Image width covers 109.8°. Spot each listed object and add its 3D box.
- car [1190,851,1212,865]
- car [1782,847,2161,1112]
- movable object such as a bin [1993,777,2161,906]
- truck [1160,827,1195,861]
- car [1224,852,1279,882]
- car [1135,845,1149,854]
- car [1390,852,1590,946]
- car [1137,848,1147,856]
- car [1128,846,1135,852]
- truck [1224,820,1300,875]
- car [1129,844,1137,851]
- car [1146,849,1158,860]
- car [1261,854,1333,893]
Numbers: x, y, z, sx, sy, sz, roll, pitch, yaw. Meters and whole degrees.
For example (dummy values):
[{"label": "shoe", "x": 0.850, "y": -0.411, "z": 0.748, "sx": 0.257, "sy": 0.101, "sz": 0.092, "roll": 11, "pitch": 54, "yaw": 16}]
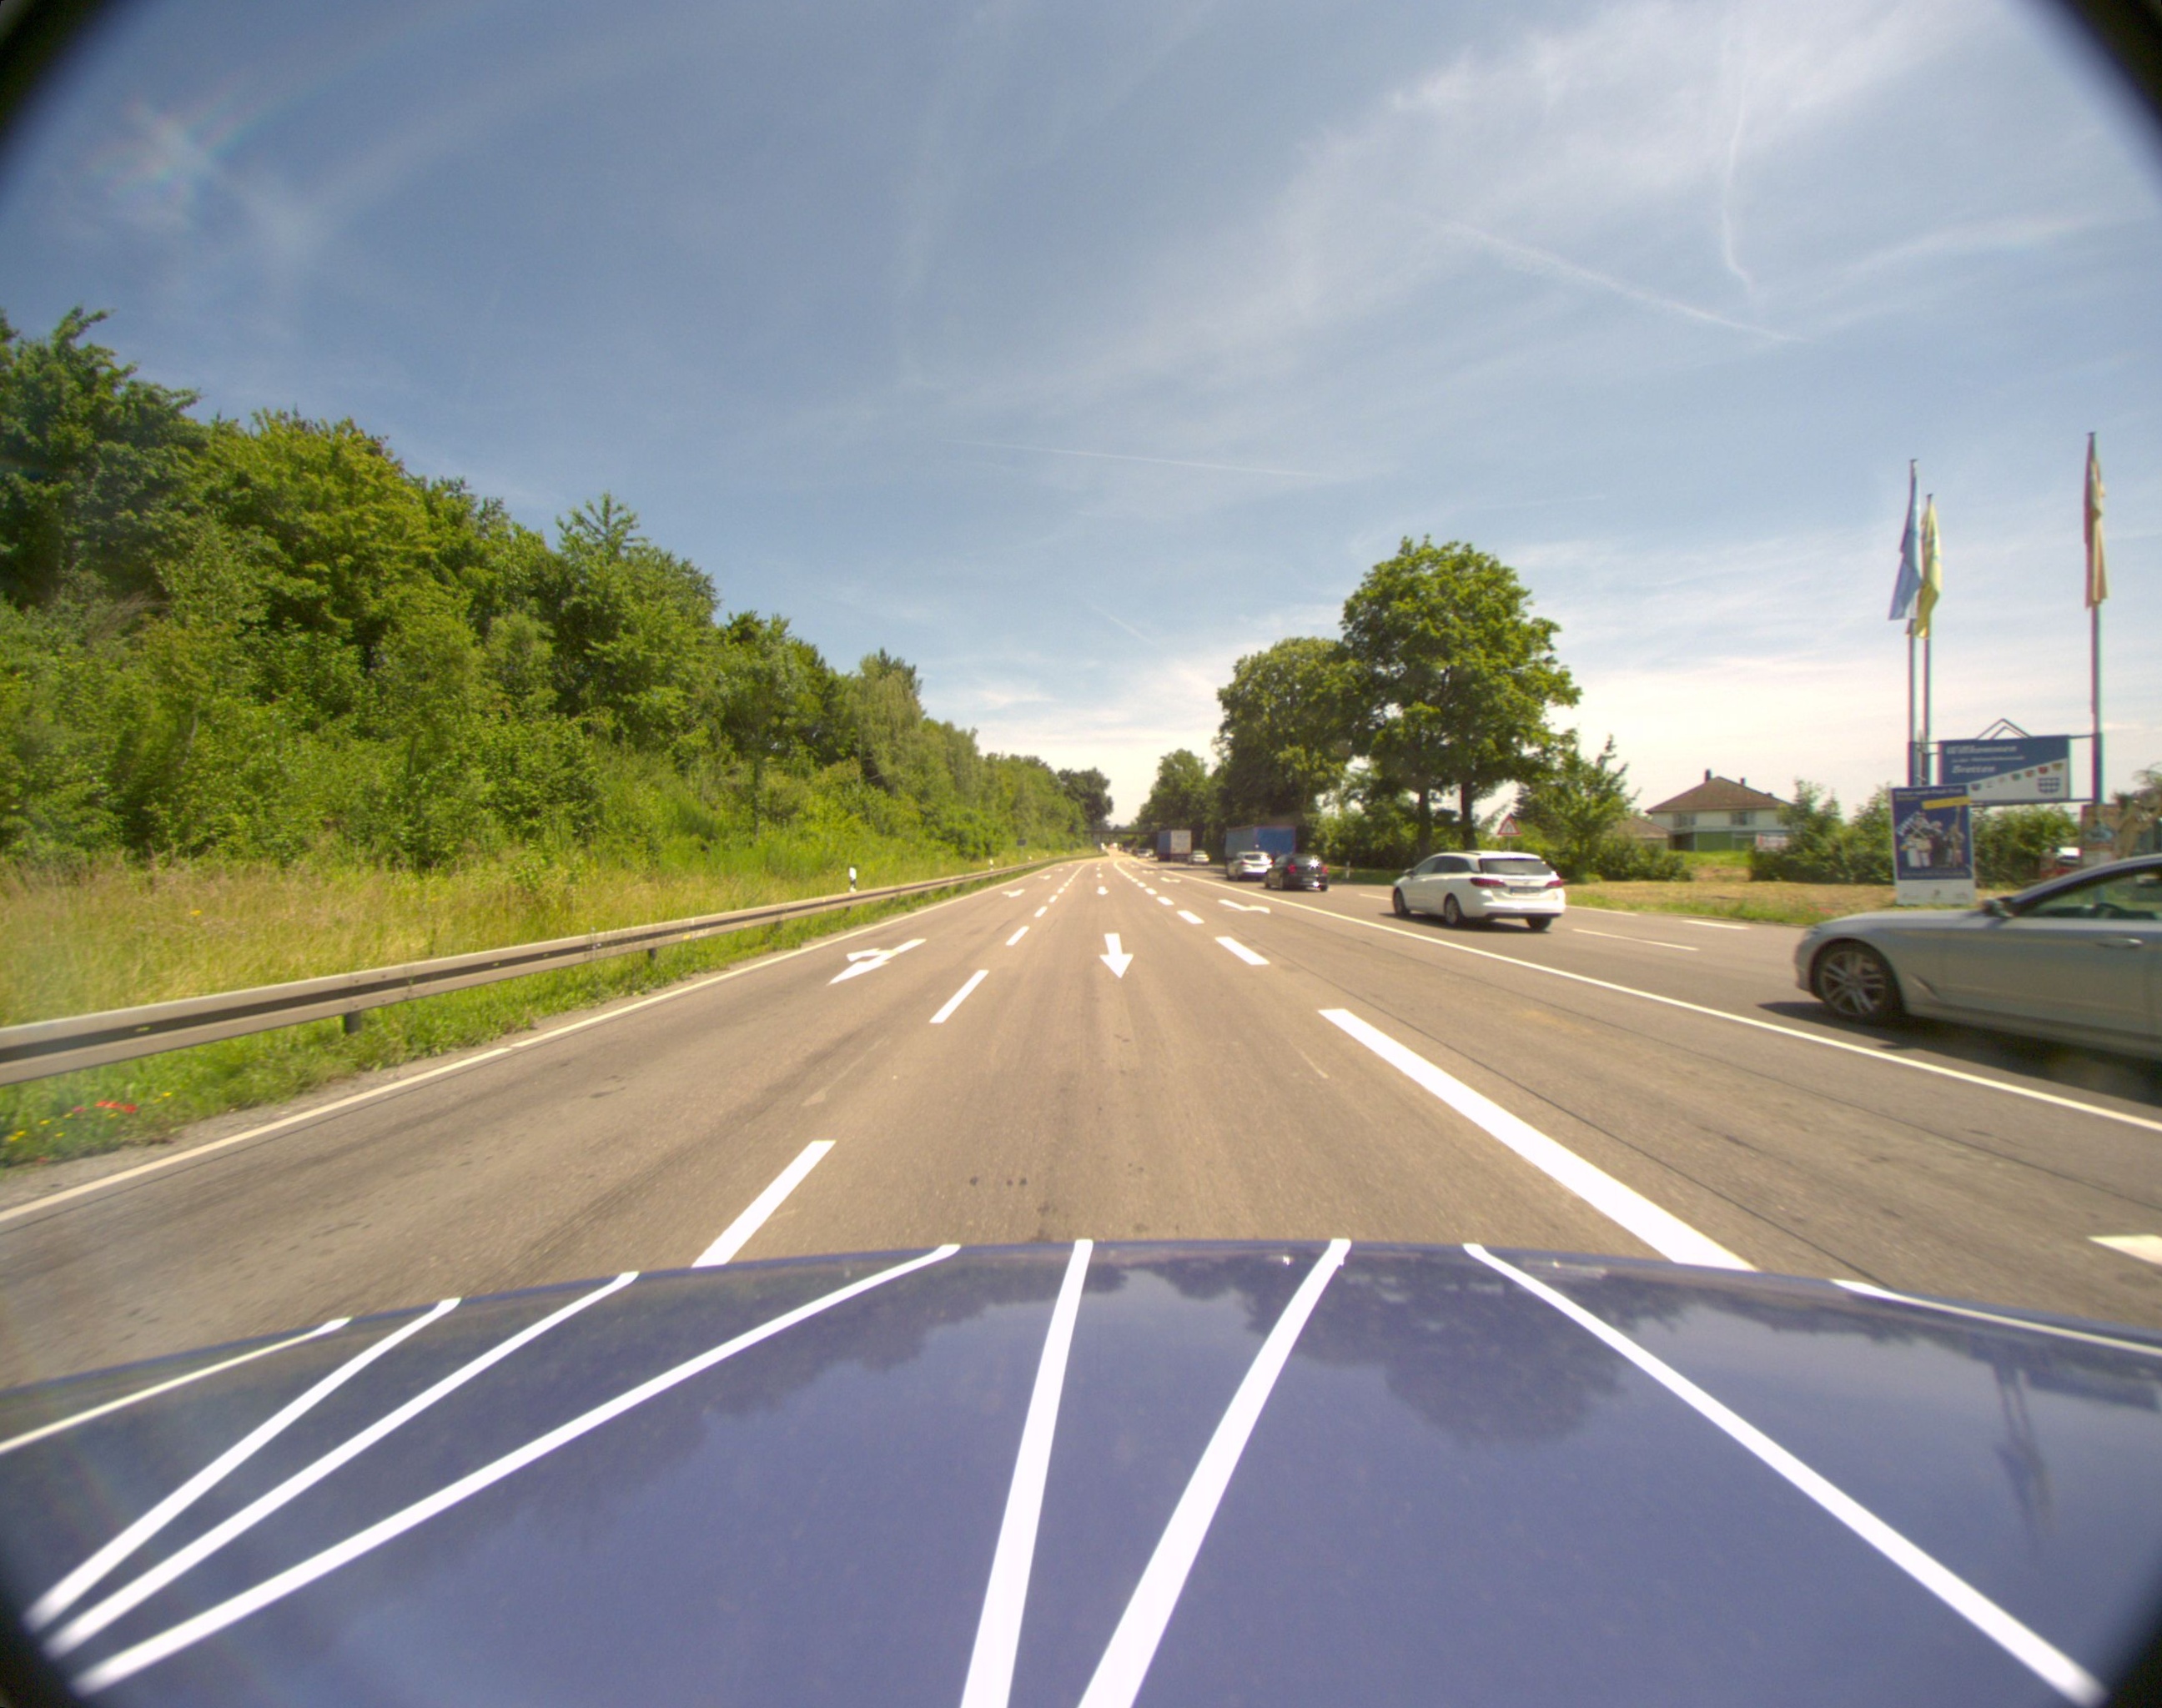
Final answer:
[{"label": "car", "x": 12.631, "y": 0.417, "z": 80.330, "sx": 1.765, "sy": 1.419, "sz": 4.180, "roll": 0, "pitch": 0, "yaw": 2}, {"label": "car", "x": 7.040, "y": 0.710, "z": 4.228, "sx": 1.814, "sy": 1.499, "sz": 4.947, "roll": 0, "pitch": 0, "yaw": 2}, {"label": "movable object such as a bin", "x": 29.425, "y": -0.355, "z": 21.961, "sx": 3.043, "sy": 3.279, "sz": 6.806, "roll": 0, "pitch": 1, "yaw": 43}, {"label": "truck", "x": 12.874, "y": -1.341, "z": 102.887, "sx": 2.975, "sy": 4.153, "sz": 16.572, "roll": 0, "pitch": 1, "yaw": 1}, {"label": "car", "x": 8.490, "y": 0.618, "z": 38.126, "sx": 1.793, "sy": 1.418, "sz": 4.262, "roll": 0, "pitch": 1, "yaw": 0}, {"label": "car", "x": 10.213, "y": -0.755, "z": 127.079, "sx": 1.923, "sy": 1.472, "sz": 4.687, "roll": 0, "pitch": 0, "yaw": 0}, {"label": "car", "x": 7.921, "y": 0.767, "z": 15.278, "sx": 1.744, "sy": 1.495, "sz": 4.405, "roll": 1, "pitch": 2, "yaw": 2}, {"label": "car", "x": 12.126, "y": -0.393, "z": 150.853, "sx": 1.704, "sy": 1.407, "sz": 4.562, "roll": -1, "pitch": 1, "yaw": 0}, {"label": "car", "x": 13.869, "y": -1.386, "z": 209.979, "sx": 1.771, "sy": 1.378, "sz": 3.999, "roll": -2, "pitch": 1, "yaw": 1}, {"label": "truck", "x": 12.148, "y": -0.491, "z": 52.199, "sx": 2.853, "sy": 3.332, "sz": 11.481, "roll": -1, "pitch": 1, "yaw": 2}, {"label": "car", "x": 12.648, "y": -1.597, "z": 184.759, "sx": 1.645, "sy": 1.430, "sz": 4.016, "roll": -2, "pitch": 1, "yaw": 0}, {"label": "car", "x": 13.089, "y": 0.048, "z": 140.416, "sx": 1.998, "sy": 1.893, "sz": 4.000, "roll": 0, "pitch": 0, "yaw": 2}, {"label": "car", "x": 8.258, "y": 0.714, "z": 29.377, "sx": 1.666, "sy": 1.395, "sz": 4.017, "roll": 1, "pitch": 0, "yaw": 1}]
